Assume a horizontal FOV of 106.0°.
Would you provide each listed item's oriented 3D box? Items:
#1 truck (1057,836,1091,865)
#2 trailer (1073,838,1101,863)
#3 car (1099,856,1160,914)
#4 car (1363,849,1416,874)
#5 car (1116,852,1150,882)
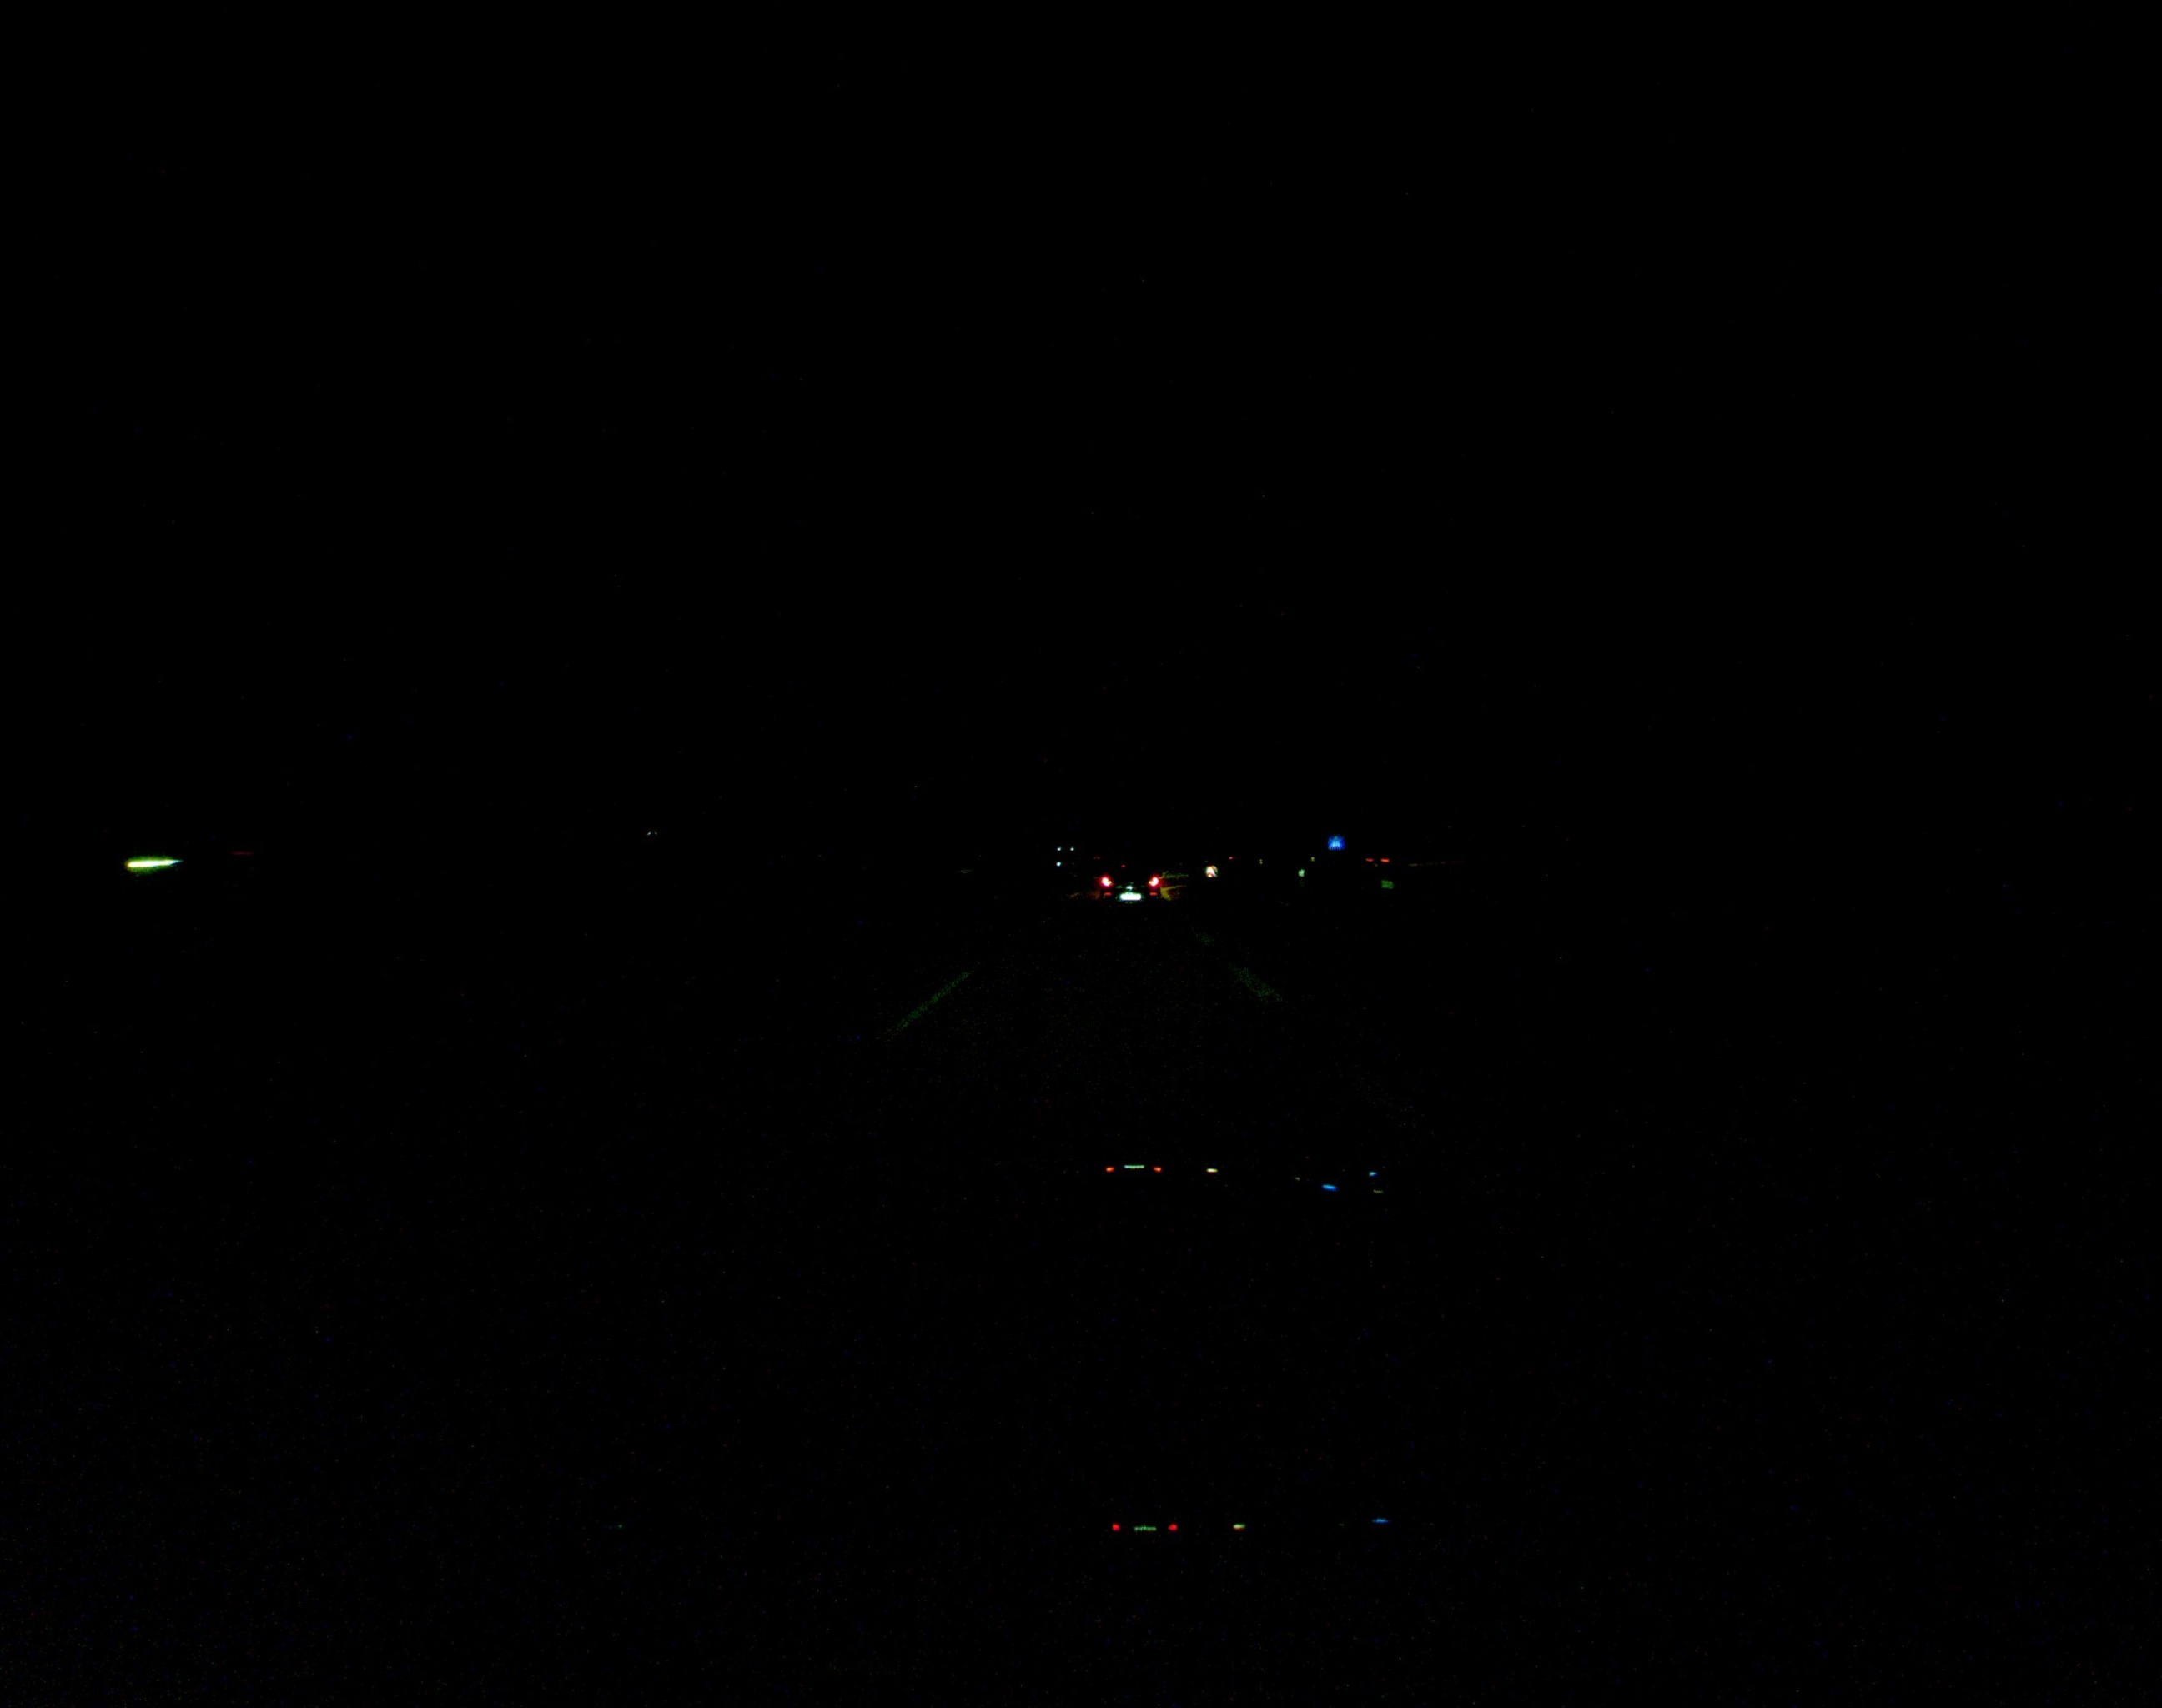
[{"bbox_3d":[-0.960,-0.536,123.194,2.662,4.044,10.691,-2,0,13],"label":"truck"},{"bbox_3d":[1.033,-0.590,132.796,2.700,3.956,9.075,-2,0,11],"label":"trailer"},{"bbox_3d":[1.325,0.814,23.373,1.583,1.508,4.001,0,0,1],"label":"car"},{"bbox_3d":[24.688,0.581,65.078,4.283,1.816,1.917,-2,0,-36],"label":"car"},{"bbox_3d":[3.131,0.749,48.856,1.898,1.698,4.004,-2,0,4],"label":"car"}]
